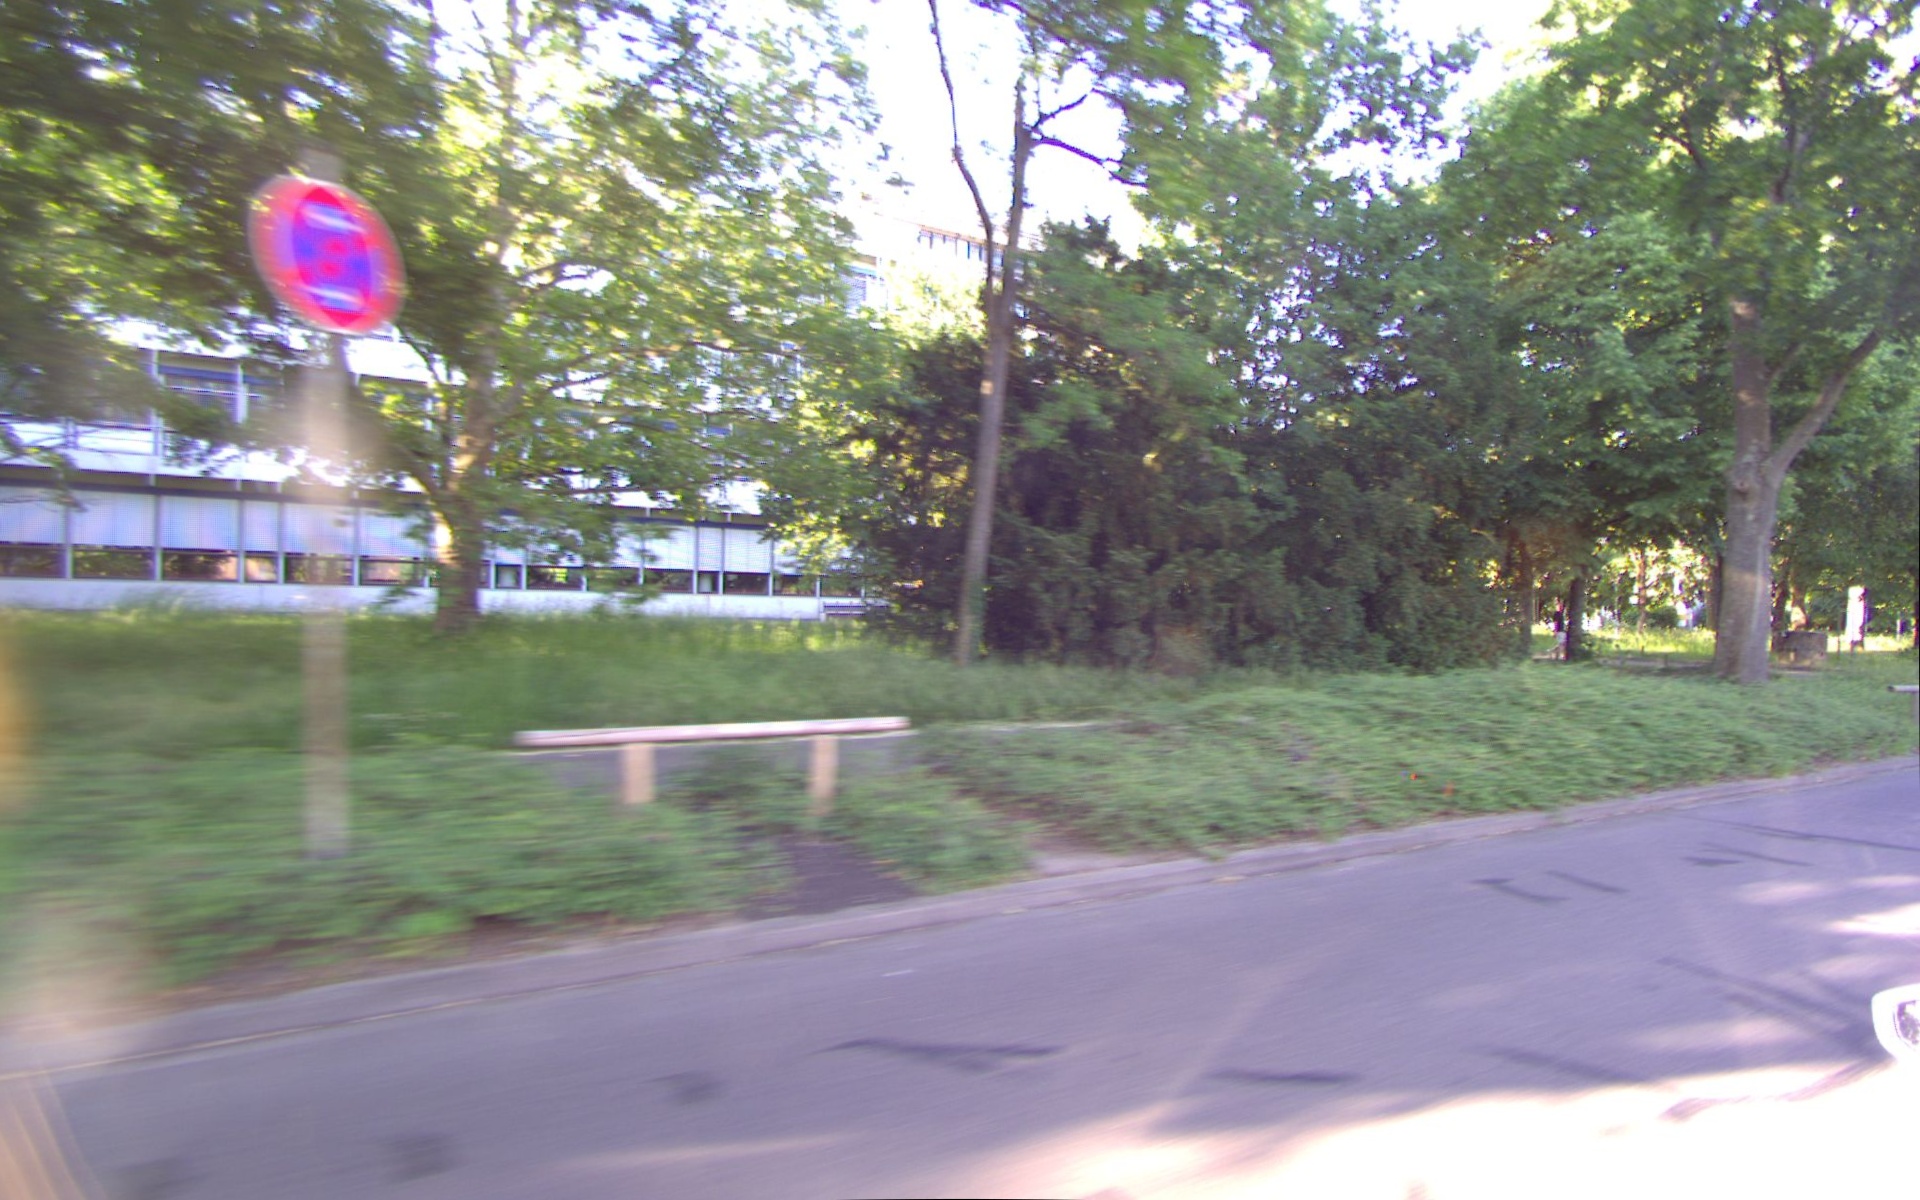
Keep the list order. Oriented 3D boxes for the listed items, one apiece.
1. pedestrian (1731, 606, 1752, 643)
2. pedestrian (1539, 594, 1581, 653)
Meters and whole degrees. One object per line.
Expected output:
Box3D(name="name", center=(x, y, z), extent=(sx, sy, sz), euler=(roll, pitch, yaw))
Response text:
Box3D(name="pedestrian", center=(43.549, 1.375, 55.968), extent=(0.584, 2.040, 0.751), euler=(1, 1, -35))
Box3D(name="pedestrian", center=(19.069, 0.729, 31.917), extent=(0.713, 1.845, 0.898), euler=(1, 0, -33))
